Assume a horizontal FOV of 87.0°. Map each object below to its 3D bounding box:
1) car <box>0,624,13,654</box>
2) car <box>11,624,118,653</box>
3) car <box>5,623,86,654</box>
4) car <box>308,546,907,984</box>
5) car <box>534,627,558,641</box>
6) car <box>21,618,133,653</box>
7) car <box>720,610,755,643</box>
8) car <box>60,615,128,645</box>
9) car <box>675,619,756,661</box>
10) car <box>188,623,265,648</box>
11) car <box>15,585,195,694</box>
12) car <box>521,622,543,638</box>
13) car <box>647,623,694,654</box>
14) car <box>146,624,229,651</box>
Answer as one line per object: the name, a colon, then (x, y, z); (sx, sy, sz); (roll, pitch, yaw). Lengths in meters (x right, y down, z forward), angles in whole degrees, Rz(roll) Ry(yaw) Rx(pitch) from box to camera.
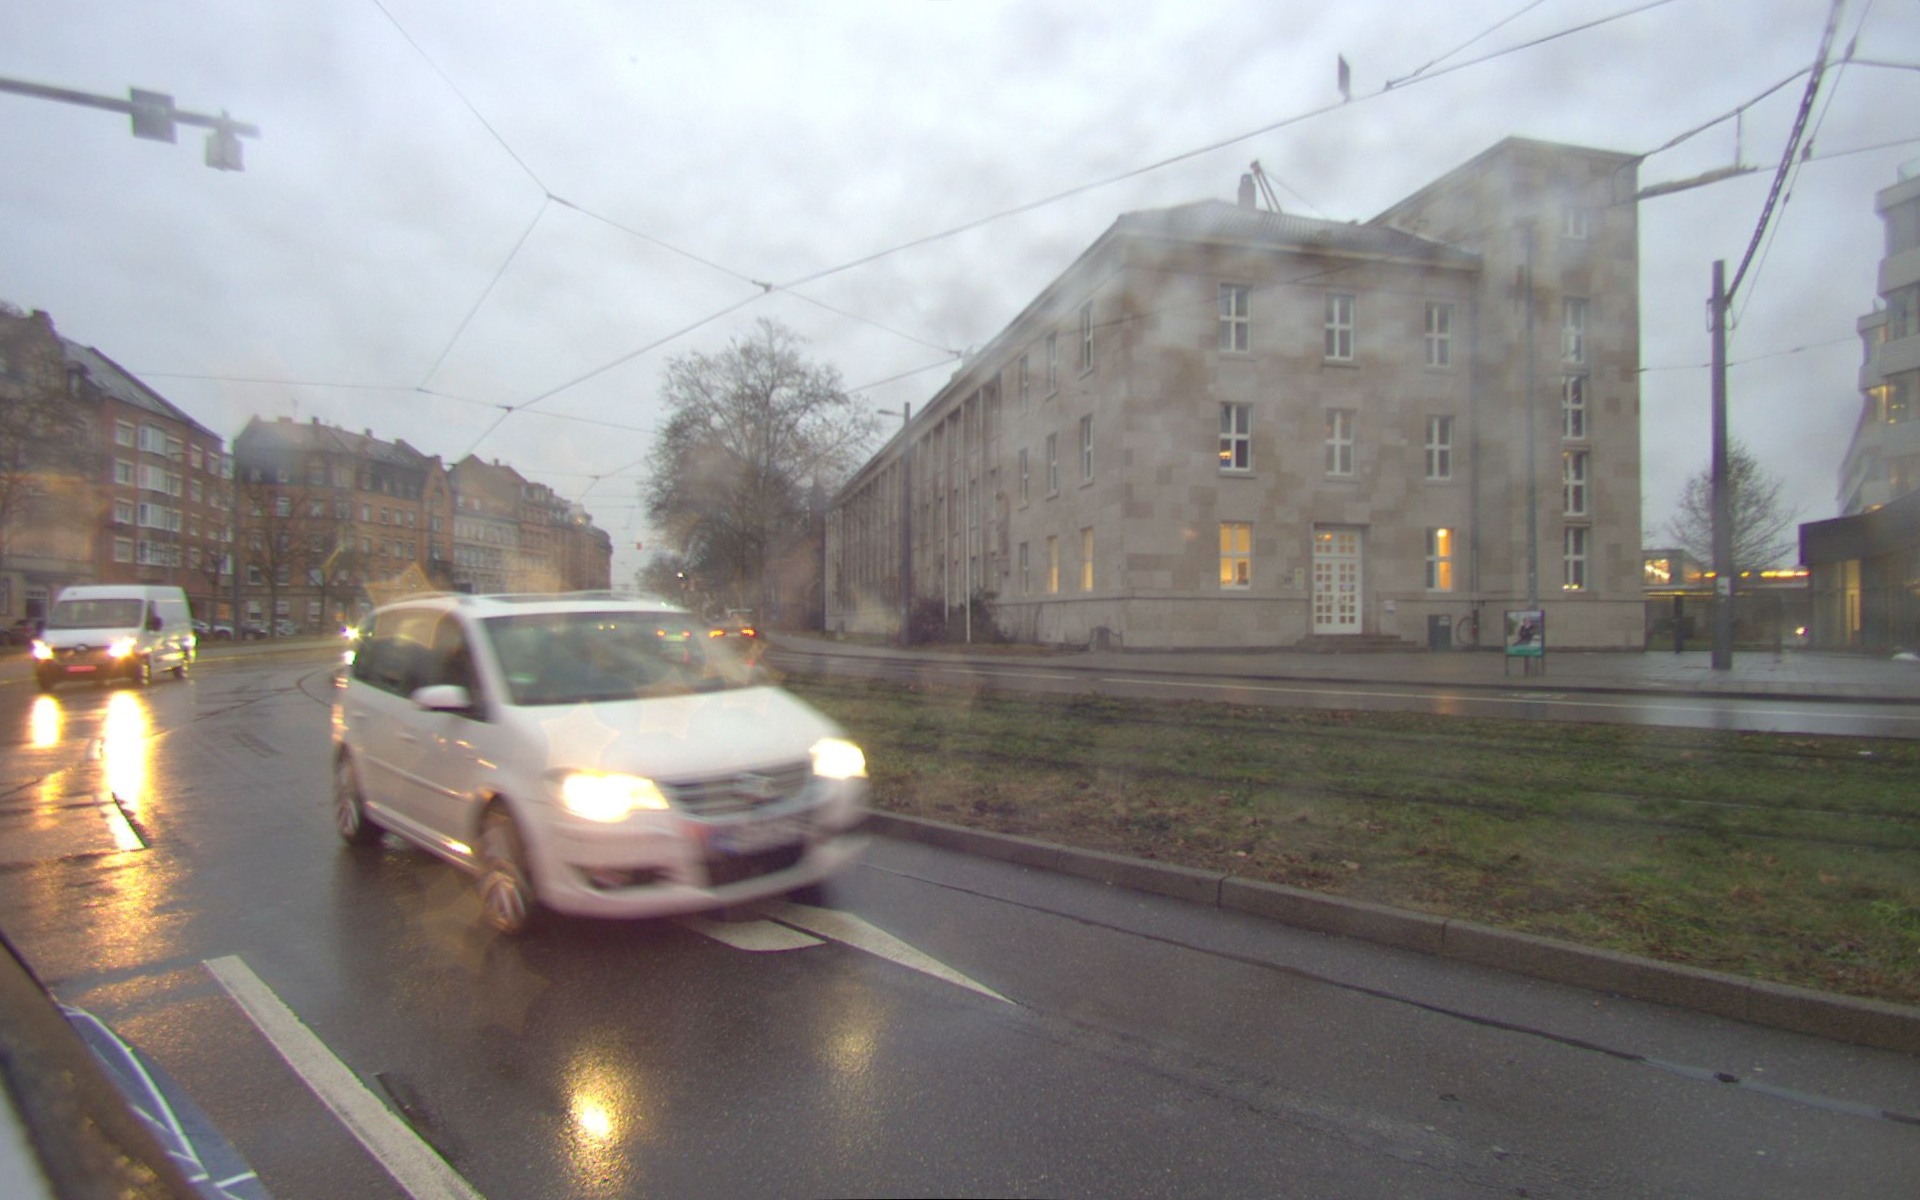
car: (-50.722, 2.017, 51.839); (1.449, 1.555, 3.881); (0, -2, -12)
car: (-42.441, 1.810, 48.080); (3.706, 1.342, 1.605); (1, -1, -39)
car: (-52.295, 2.170, 57.964); (1.666, 1.554, 4.010); (-2, 0, -12)
car: (-2.328, 0.656, 5.924); (1.651, 1.672, 4.150); (-2, 0, -45)
car: (-41.517, 3.384, 101.560); (1.865, 1.424, 3.959); (0, -2, -18)
car: (-40.759, 1.605, 46.754); (3.816, 1.416, 1.696); (-2, 0, -43)
car: (-14.598, 1.681, 66.245); (1.966, 2.029, 4.522); (-2, 0, -15)
car: (-54.294, 1.834, 63.523); (1.648, 1.716, 3.473); (-2, 0, -10)
car: (-9.306, 1.461, 38.259); (1.634, 1.411, 4.536); (-2, 0, -31)
car: (-44.709, 2.155, 61.728); (3.706, 1.364, 1.605); (-2, 0, -39)
car: (-21.215, 0.928, 25.428); (2.094, 2.398, 5.656); (-1, -1, -26)
car: (-44.830, 3.105, 106.084); (1.694, 1.630, 3.950); (0, -2, -17)
car: (-15.149, 1.982, 52.862); (1.795, 1.446, 4.670); (-2, 0, -23)
car: (-43.988, 2.100, 57.679); (3.706, 1.364, 1.605); (-2, 0, -39)
